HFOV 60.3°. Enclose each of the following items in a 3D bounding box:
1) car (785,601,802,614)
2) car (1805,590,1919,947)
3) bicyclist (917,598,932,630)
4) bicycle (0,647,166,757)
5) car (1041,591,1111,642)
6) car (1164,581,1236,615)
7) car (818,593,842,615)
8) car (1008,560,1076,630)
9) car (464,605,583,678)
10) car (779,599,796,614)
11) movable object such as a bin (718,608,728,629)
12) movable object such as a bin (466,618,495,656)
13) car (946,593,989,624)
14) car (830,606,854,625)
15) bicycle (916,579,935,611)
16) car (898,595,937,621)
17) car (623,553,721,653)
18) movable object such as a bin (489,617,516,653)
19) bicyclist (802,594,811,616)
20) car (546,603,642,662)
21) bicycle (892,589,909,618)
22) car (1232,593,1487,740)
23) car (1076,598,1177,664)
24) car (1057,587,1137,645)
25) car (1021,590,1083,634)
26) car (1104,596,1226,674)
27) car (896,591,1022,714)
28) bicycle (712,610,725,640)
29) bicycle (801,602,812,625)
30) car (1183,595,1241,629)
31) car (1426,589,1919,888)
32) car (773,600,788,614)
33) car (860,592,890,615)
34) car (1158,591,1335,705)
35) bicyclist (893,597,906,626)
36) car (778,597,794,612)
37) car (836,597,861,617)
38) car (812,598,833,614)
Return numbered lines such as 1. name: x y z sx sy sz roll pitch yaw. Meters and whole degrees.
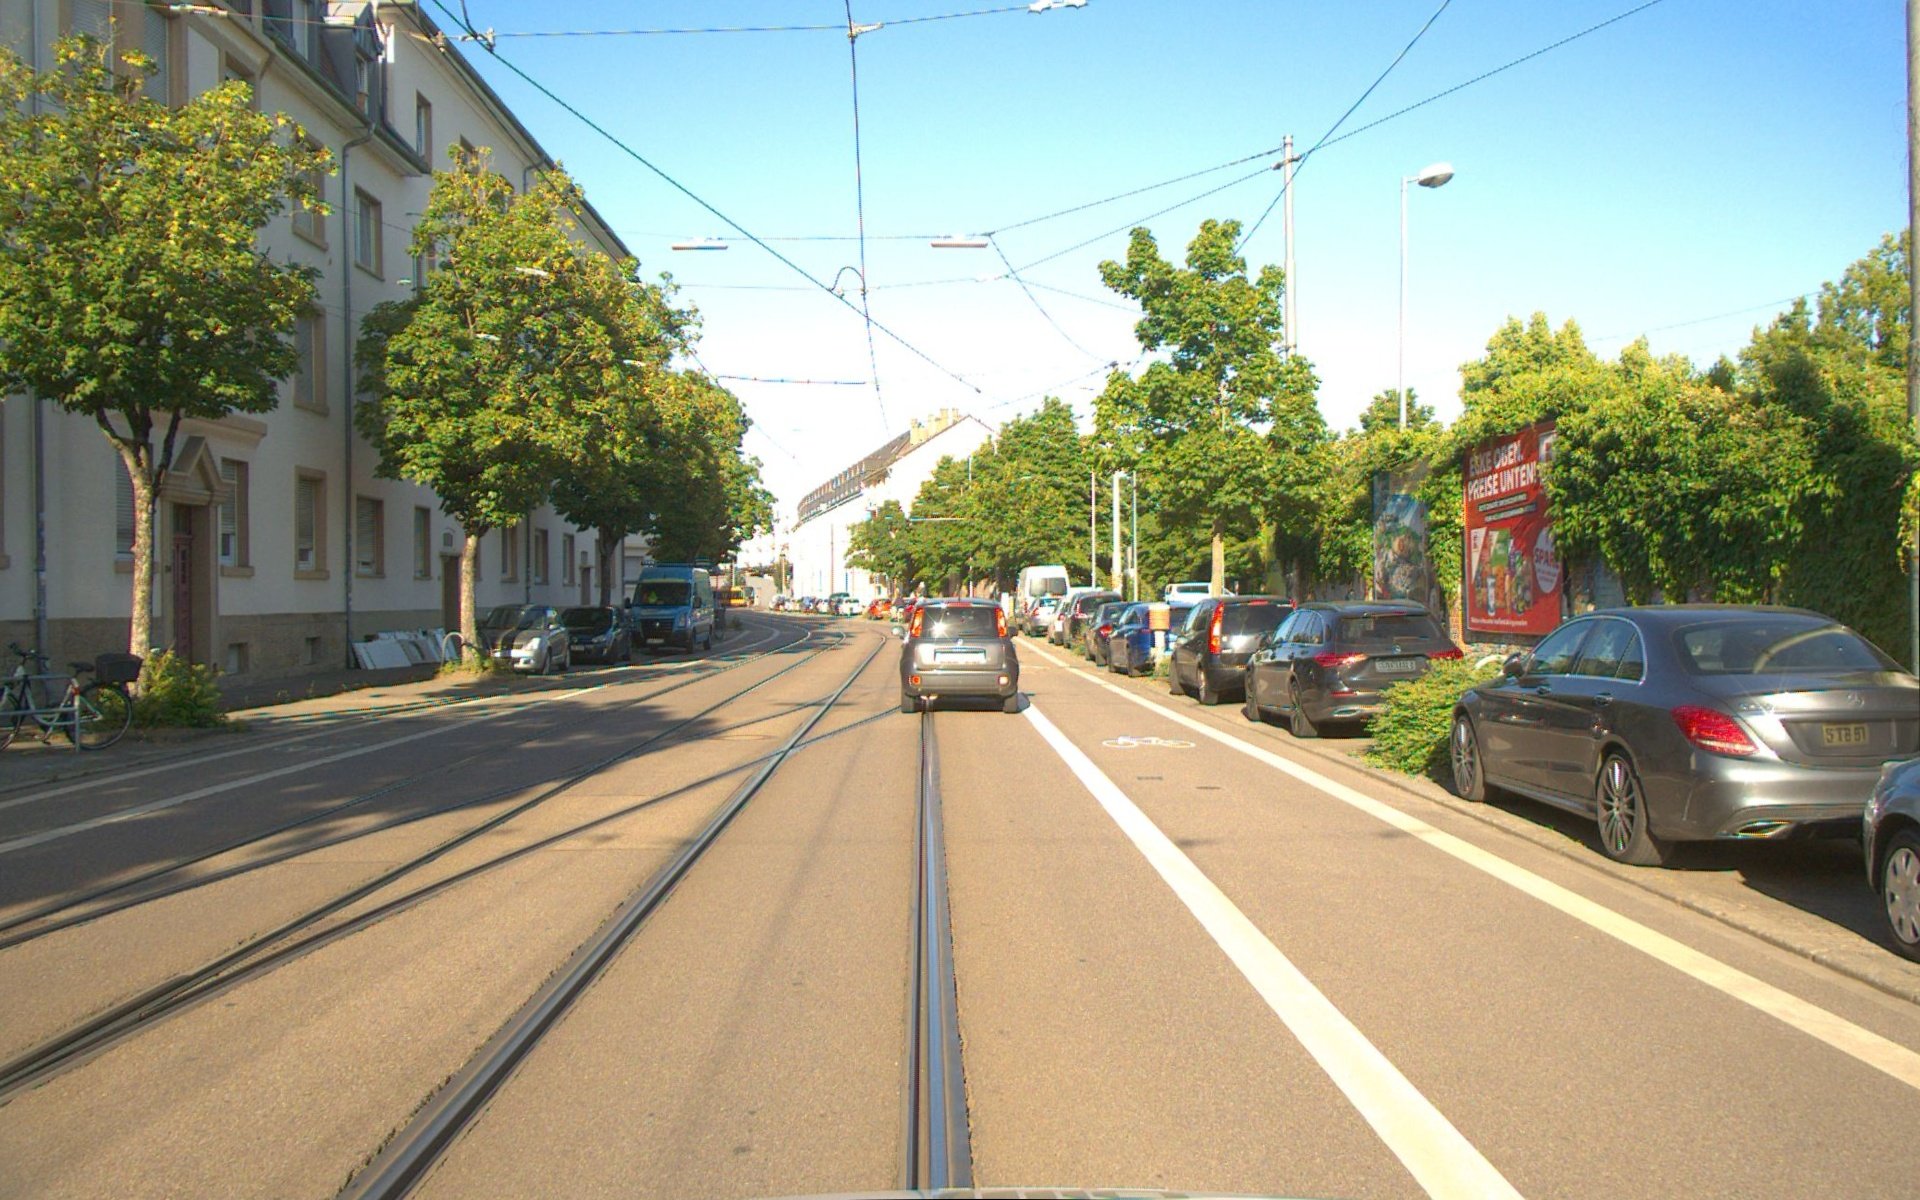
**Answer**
1. car: -18.086 0.792 179.482 1.555 1.430 3.366 0 0 -12
2. car: 4.929 0.708 5.863 1.834 1.498 4.075 0 0 1
3. bicyclist: -1.986 0.791 92.358 0.687 1.790 0.755 0 0 -12
4. bicycle: -9.297 1.028 17.030 0.523 1.058 1.974 0 -1 43
5. car: 3.683 0.517 53.143 1.694 1.539 4.248 0 0 -4
6. car: 15.474 -0.128 106.669 4.199 2.049 1.771 -2 0 -7
7. car: -11.919 0.375 151.022 1.626 1.978 4.651 0 0 -12
8. car: 3.352 -0.190 69.011 2.137 2.712 6.087 -3 0 -3
9. car: -9.648 0.885 36.855 1.618 1.517 3.999 0 0 -1
10. car: -19.324 0.714 185.023 1.555 1.627 3.366 0 0 -12
11. movable object such as a bin: -11.490 0.913 80.041 0.476 1.005 0.658 0 0 -9
12. movable object such as a bin: -12.207 0.939 42.090 0.584 0.951 0.568 -1 0 -4
13. car: 0.381 0.457 88.138 1.657 1.556 3.993 -2 0 -8
14. car: -10.127 1.331 141.754 1.626 1.599 3.865 0 0 -12
15. bicycle: -1.948 -0.261 92.321 0.663 1.777 2.151 0 0 -12
16. car: -2.723 0.512 104.795 1.660 1.556 3.986 -2 0 -14
17. car: -8.817 0.097 51.172 1.976 2.875 6.031 0 0 0
18. movable object such as a bin: -12.308 0.947 44.485 0.584 0.951 0.568 -1 0 -4
19. bicyclist: -13.935 0.452 150.346 0.702 2.049 0.829 0 0 -12
20. car: -9.504 0.818 43.178 1.618 1.450 4.189 0 0 -1
21. bicycle: -3.666 0.212 101.179 0.663 1.777 2.151 0 0 -12
22. car: 4.470 0.683 19.241 1.787 1.477 4.641 -1 0 -1
23. car: 3.932 0.709 39.671 1.694 1.490 4.494 0 0 -4
24. car: 3.962 0.456 48.366 1.694 1.632 4.339 0 0 -4
25. car: 3.410 0.431 62.231 1.872 1.556 4.598 -1 0 -2
26. car: 4.113 0.675 33.839 1.694 1.490 4.337 0 0 -4
27. car: -0.060 0.680 23.549 1.616 1.568 4.233 1 0 -1
28. bicycle: -9.315 0.959 63.802 0.502 1.154 2.027 0 0 -8
29. bicycle: -13.944 1.224 150.368 0.728 2.049 2.803 0 0 -12
30. car: 7.991 0.379 52.604 1.283 1.051 3.055 0 0 -2
31. car: 4.562 0.711 10.692 1.787 1.510 4.601 0 0 0
32. car: -22.111 0.837 203.407 1.555 1.627 3.366 0 0 -12
33. car: -6.139 0.237 119.331 1.606 1.534 3.388 -3 0 -11
34. car: 4.258 0.677 25.164 1.788 1.519 3.812 -3 0 -3
35. bicyclist: -3.702 0.719 101.294 0.687 1.790 0.755 0 0 -12
36. car: -20.082 0.531 191.070 1.555 1.627 3.366 0 0 -12
37. car: -9.287 0.598 137.415 1.626 1.599 3.489 0 0 -12
38. car: -13.139 0.542 157.458 1.626 1.526 3.120 0 0 -12
